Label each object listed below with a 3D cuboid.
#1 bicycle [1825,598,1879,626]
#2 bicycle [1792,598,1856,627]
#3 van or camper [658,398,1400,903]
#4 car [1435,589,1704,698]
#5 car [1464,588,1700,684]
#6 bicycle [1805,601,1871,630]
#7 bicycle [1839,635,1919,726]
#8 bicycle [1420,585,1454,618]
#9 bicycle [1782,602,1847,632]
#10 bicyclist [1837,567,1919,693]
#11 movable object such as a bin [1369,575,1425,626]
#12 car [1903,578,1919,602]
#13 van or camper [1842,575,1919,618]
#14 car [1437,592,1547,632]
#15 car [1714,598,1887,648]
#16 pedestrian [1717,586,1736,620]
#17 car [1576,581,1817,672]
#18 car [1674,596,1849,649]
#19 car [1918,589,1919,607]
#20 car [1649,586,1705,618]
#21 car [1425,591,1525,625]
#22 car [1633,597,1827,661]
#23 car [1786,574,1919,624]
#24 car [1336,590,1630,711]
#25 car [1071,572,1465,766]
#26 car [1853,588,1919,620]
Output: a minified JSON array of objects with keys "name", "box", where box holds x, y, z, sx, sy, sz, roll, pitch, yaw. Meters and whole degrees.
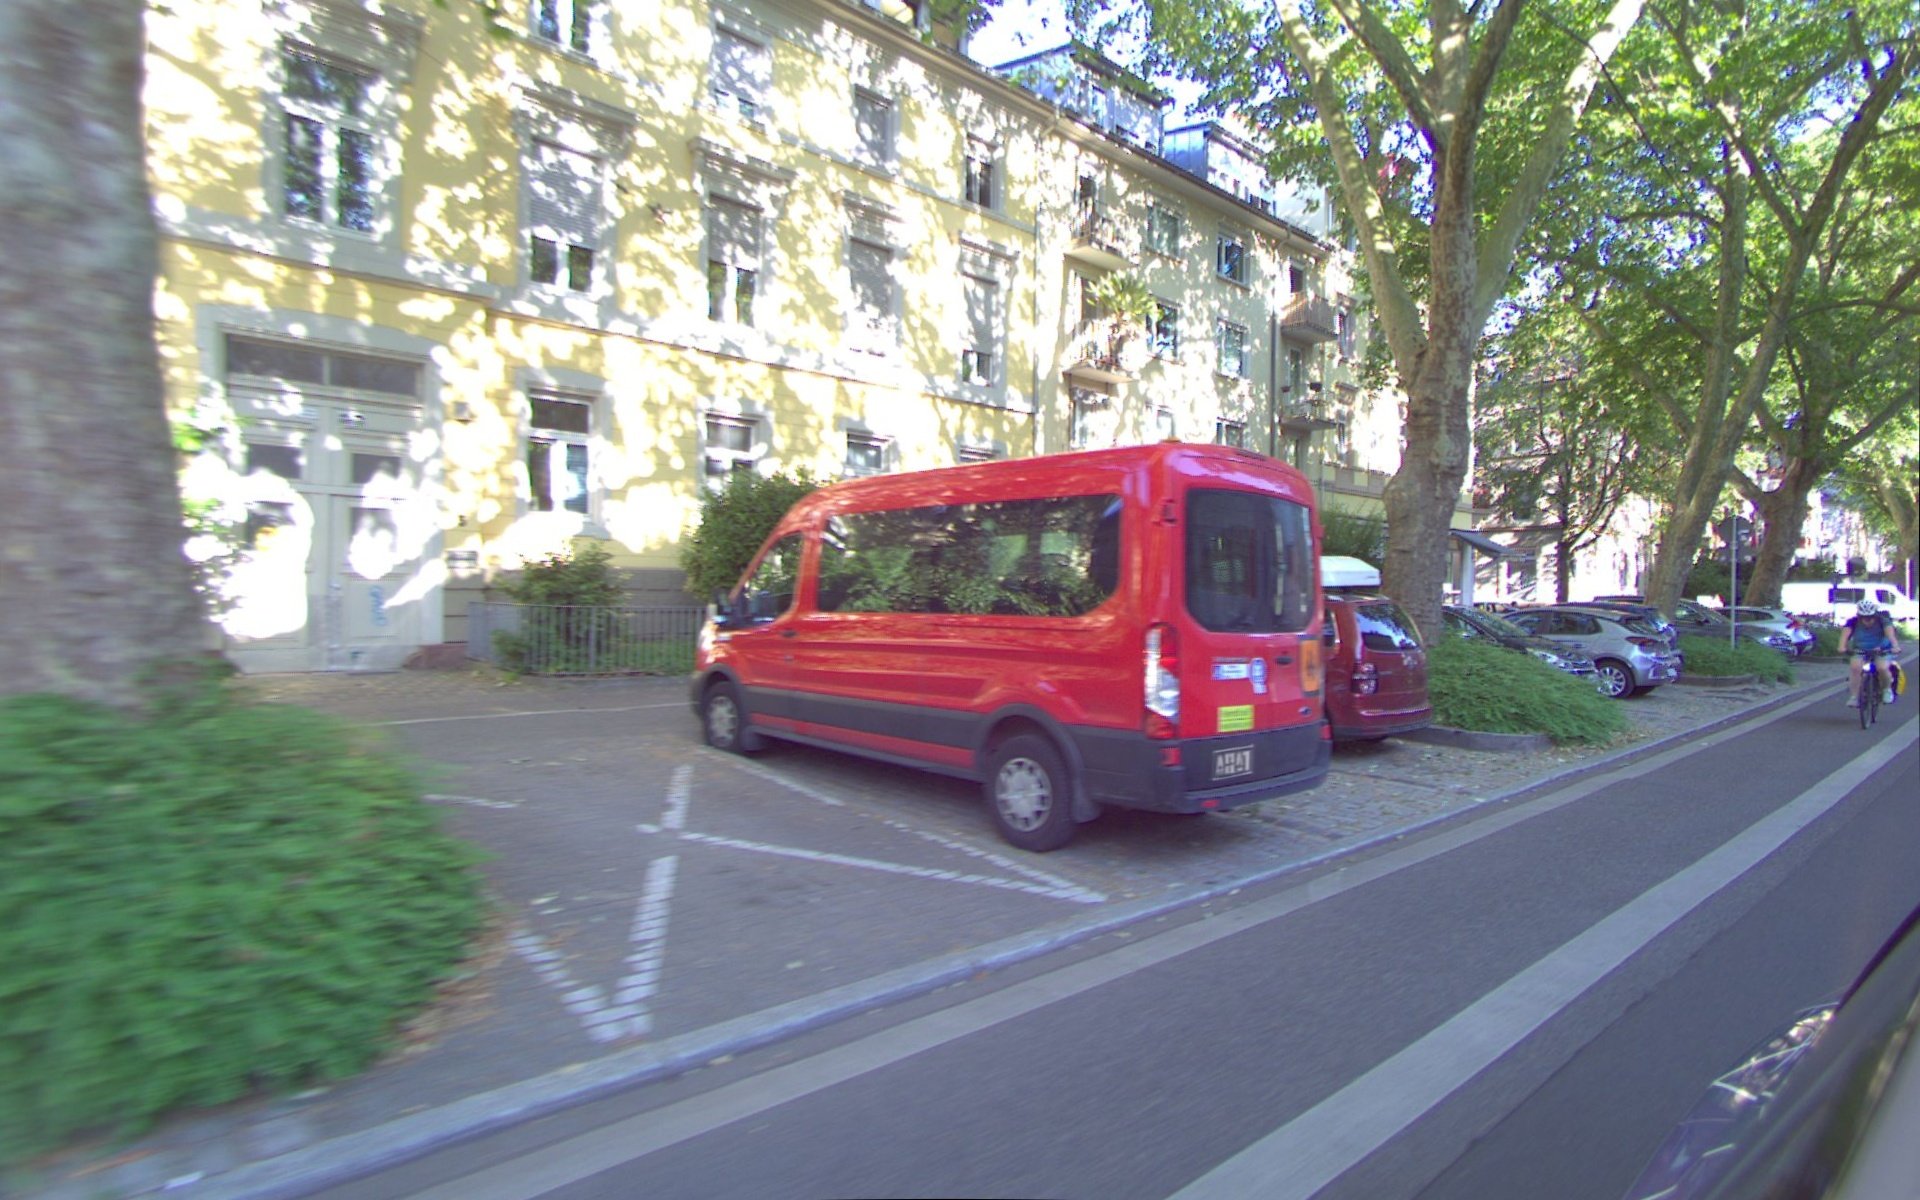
[{"name":"bicycle","box":[39.550,0.511,44.896,0.405,1.193,2.051,-1,1,-5]},{"name":"bicycle","box":[36.824,0.511,43.175,0.405,1.193,2.049,-1,1,-33]},{"name":"van or camper","box":[0.048,0.133,8.013,2.249,2.550,5.822,1,2,-43]},{"name":"car","box":[10.354,0.649,17.363,1.664,1.536,3.602,0,2,-41]},{"name":"car","box":[11.883,0.608,19.490,1.514,1.619,3.601,-1,2,-41]},{"name":"bicycle","box":[36.765,0.637,42.408,0.405,1.193,2.049,-1,1,-33]},{"name":"bicycle","box":[12.000,0.992,13.114,2.468,1.017,0.596,0,-2,-42]},{"name":"bicycle","box":[17.685,0.051,37.487,1.716,1.170,0.470,1,2,-42]},{"name":"bicycle","box":[35.553,0.694,42.121,0.405,1.193,2.049,-1,1,-33]},{"name":"bicyclist","box":[11.977,0.396,13.179,0.919,1.573,0.614,0,-4,-42]},{"name":"movable object such as a bin","box":[13.067,-0.003,30.267,1.098,1.455,1.169,0,2,-42]},{"name":"car","box":[74.555,-0.743,77.017,1.774,1.767,4.000,0,1,-42]},{"name":"van or camper","box":[56.892,-0.244,60.560,2.071,2.522,6.041,0,1,-42]},{"name":"car","box":[23.884,0.494,45.560,1.820,1.618,3.998,-3,3,-37]},{"name":"car","box":[27.849,0.711,33.659,1.795,1.510,4.111,0,1,-33]},{"name":"pedestrian","box":[38.152,0.132,50.406,0.587,1.672,0.703,0,0,22]},{"name":"car","box":[17.119,0.537,23.680,1.818,1.740,4.267,0,3,-44]},{"name":"car","box":[25.542,0.666,32.391,1.650,1.510,4.109,0,1,-36]},{"name":"car","box":[82.595,-0.088,84.073,1.878,1.500,4.204,0,2,-41]},{"name":"car","box":[35.718,0.065,50.411,1.733,1.473,3.513,3,2,44]},{"name":"car","box":[23.083,0.334,45.464,3.678,1.430,1.664,1,-1,45]},{"name":"car","box":[20.836,0.718,27.483,4.027,1.498,1.655,2,2,43]},{"name":"car","box":[43.431,-0.066,48.229,1.970,2.311,6.004,1,0,-40]},{"name":"car","box":[7.969,0.672,15.651,1.664,1.542,3.676,0,1,-41]},{"name":"car","box":[3.268,0.578,11.239,1.739,1.669,3.822,-2,4,-44]},{"name":"car","box":[52.337,0.210,56.237,1.767,1.676,3.957,-1,2,-44]}]
